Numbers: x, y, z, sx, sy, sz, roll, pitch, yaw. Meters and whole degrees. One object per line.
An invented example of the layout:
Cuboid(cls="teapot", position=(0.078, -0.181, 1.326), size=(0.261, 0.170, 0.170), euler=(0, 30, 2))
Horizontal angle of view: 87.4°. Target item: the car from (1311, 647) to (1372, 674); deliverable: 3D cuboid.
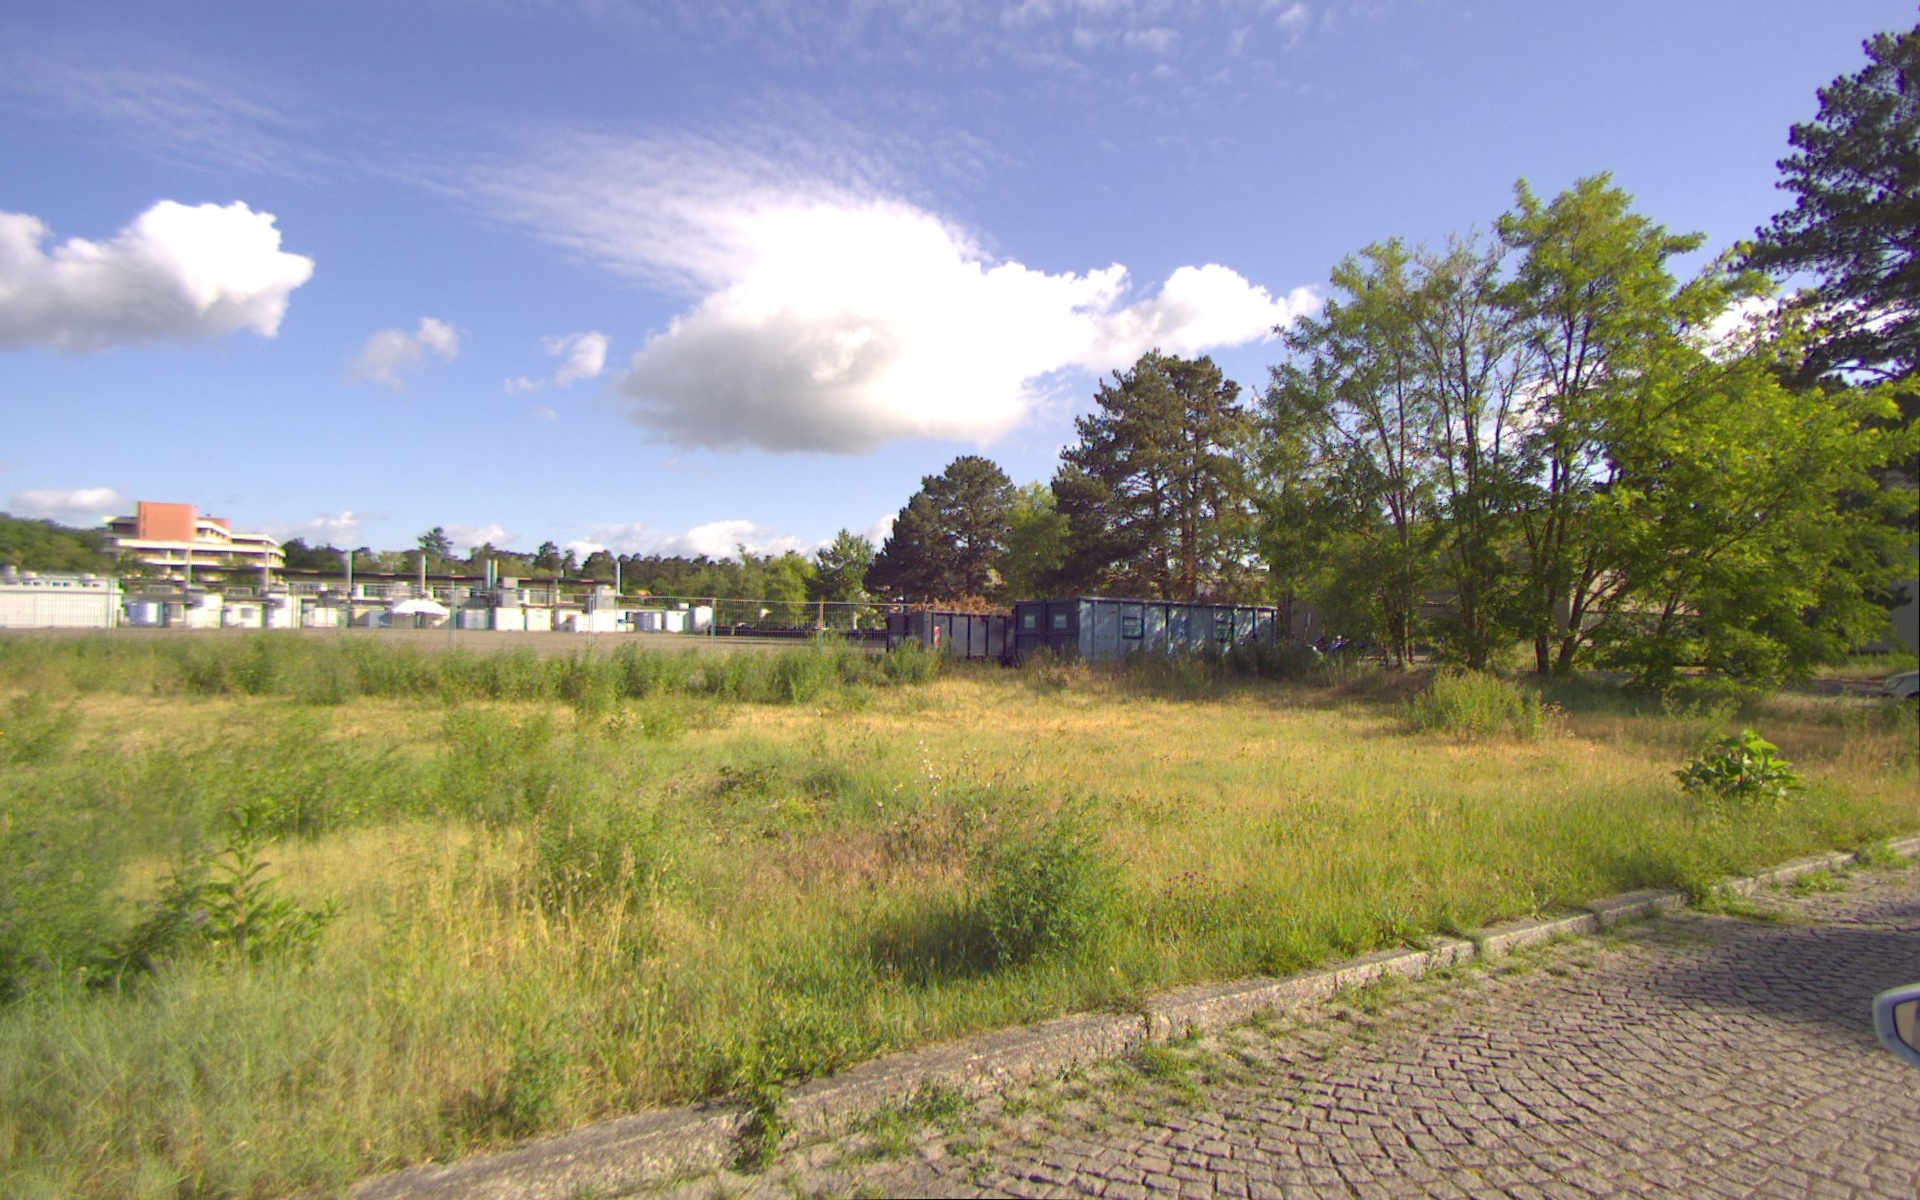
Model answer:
Cuboid(cls="car", position=(26.905, 4.254, 70.799), size=(3.952, 1.802, 1.858), euler=(2, -2, -28))

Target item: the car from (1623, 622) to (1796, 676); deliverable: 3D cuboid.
Cuboid(cls="car", position=(24.356, 1.543, 32.800), size=(1.985, 1.630, 4.127), euler=(1, -2, -28))

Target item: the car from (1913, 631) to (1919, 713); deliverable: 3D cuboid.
Cuboid(cls="car", position=(18.910, 1.395, 16.837), size=(1.671, 1.464, 3.917), euler=(2, 2, -30))

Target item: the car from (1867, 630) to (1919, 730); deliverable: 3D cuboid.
Cuboid(cls="car", position=(16.662, 1.351, 15.466), size=(1.680, 1.548, 3.665), euler=(2, 1, -32))
